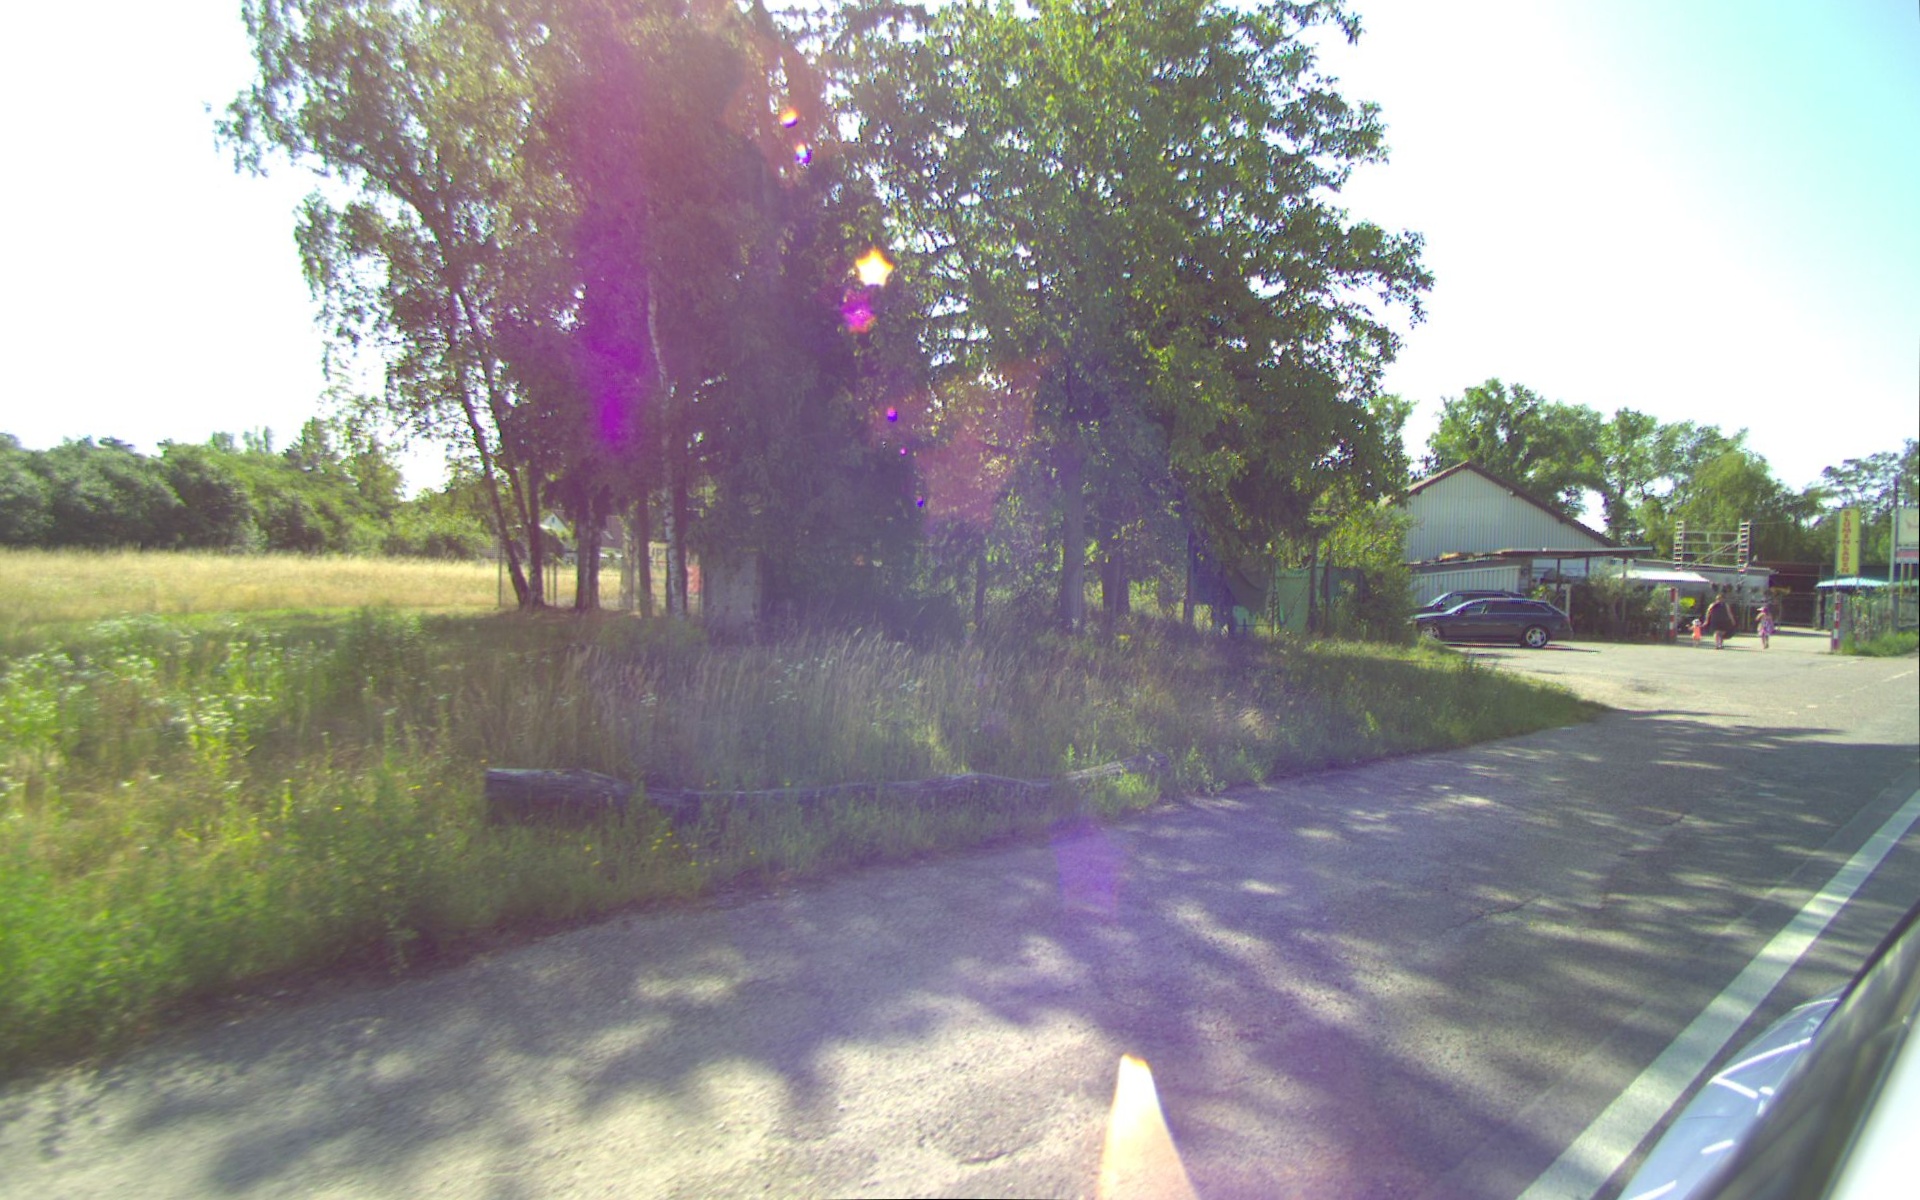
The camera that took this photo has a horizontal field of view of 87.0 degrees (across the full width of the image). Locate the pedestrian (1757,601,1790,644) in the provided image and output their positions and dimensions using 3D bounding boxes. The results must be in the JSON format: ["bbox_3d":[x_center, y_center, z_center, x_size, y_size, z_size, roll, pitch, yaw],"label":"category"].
[{"bbox_3d":[26.561,0.718,33.042,0.720,1.354,0.816,2,1,34],"label":"pedestrian"}]

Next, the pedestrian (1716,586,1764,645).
[{"bbox_3d":[25.071,0.484,32.554,1.092,1.808,0.925,2,1,34],"label":"pedestrian"}]

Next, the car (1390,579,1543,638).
[{"bbox_3d":[17.025,0.244,34.298,4.410,1.826,1.851,2,1,21],"label":"car"}]

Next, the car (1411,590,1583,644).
[{"bbox_3d":[16.347,0.480,31.065,4.410,1.448,1.703,2,1,21],"label":"car"}]

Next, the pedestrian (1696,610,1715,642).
[{"bbox_3d":[24.366,0.845,33.091,0.467,0.996,0.335,2,1,34],"label":"pedestrian"}]
